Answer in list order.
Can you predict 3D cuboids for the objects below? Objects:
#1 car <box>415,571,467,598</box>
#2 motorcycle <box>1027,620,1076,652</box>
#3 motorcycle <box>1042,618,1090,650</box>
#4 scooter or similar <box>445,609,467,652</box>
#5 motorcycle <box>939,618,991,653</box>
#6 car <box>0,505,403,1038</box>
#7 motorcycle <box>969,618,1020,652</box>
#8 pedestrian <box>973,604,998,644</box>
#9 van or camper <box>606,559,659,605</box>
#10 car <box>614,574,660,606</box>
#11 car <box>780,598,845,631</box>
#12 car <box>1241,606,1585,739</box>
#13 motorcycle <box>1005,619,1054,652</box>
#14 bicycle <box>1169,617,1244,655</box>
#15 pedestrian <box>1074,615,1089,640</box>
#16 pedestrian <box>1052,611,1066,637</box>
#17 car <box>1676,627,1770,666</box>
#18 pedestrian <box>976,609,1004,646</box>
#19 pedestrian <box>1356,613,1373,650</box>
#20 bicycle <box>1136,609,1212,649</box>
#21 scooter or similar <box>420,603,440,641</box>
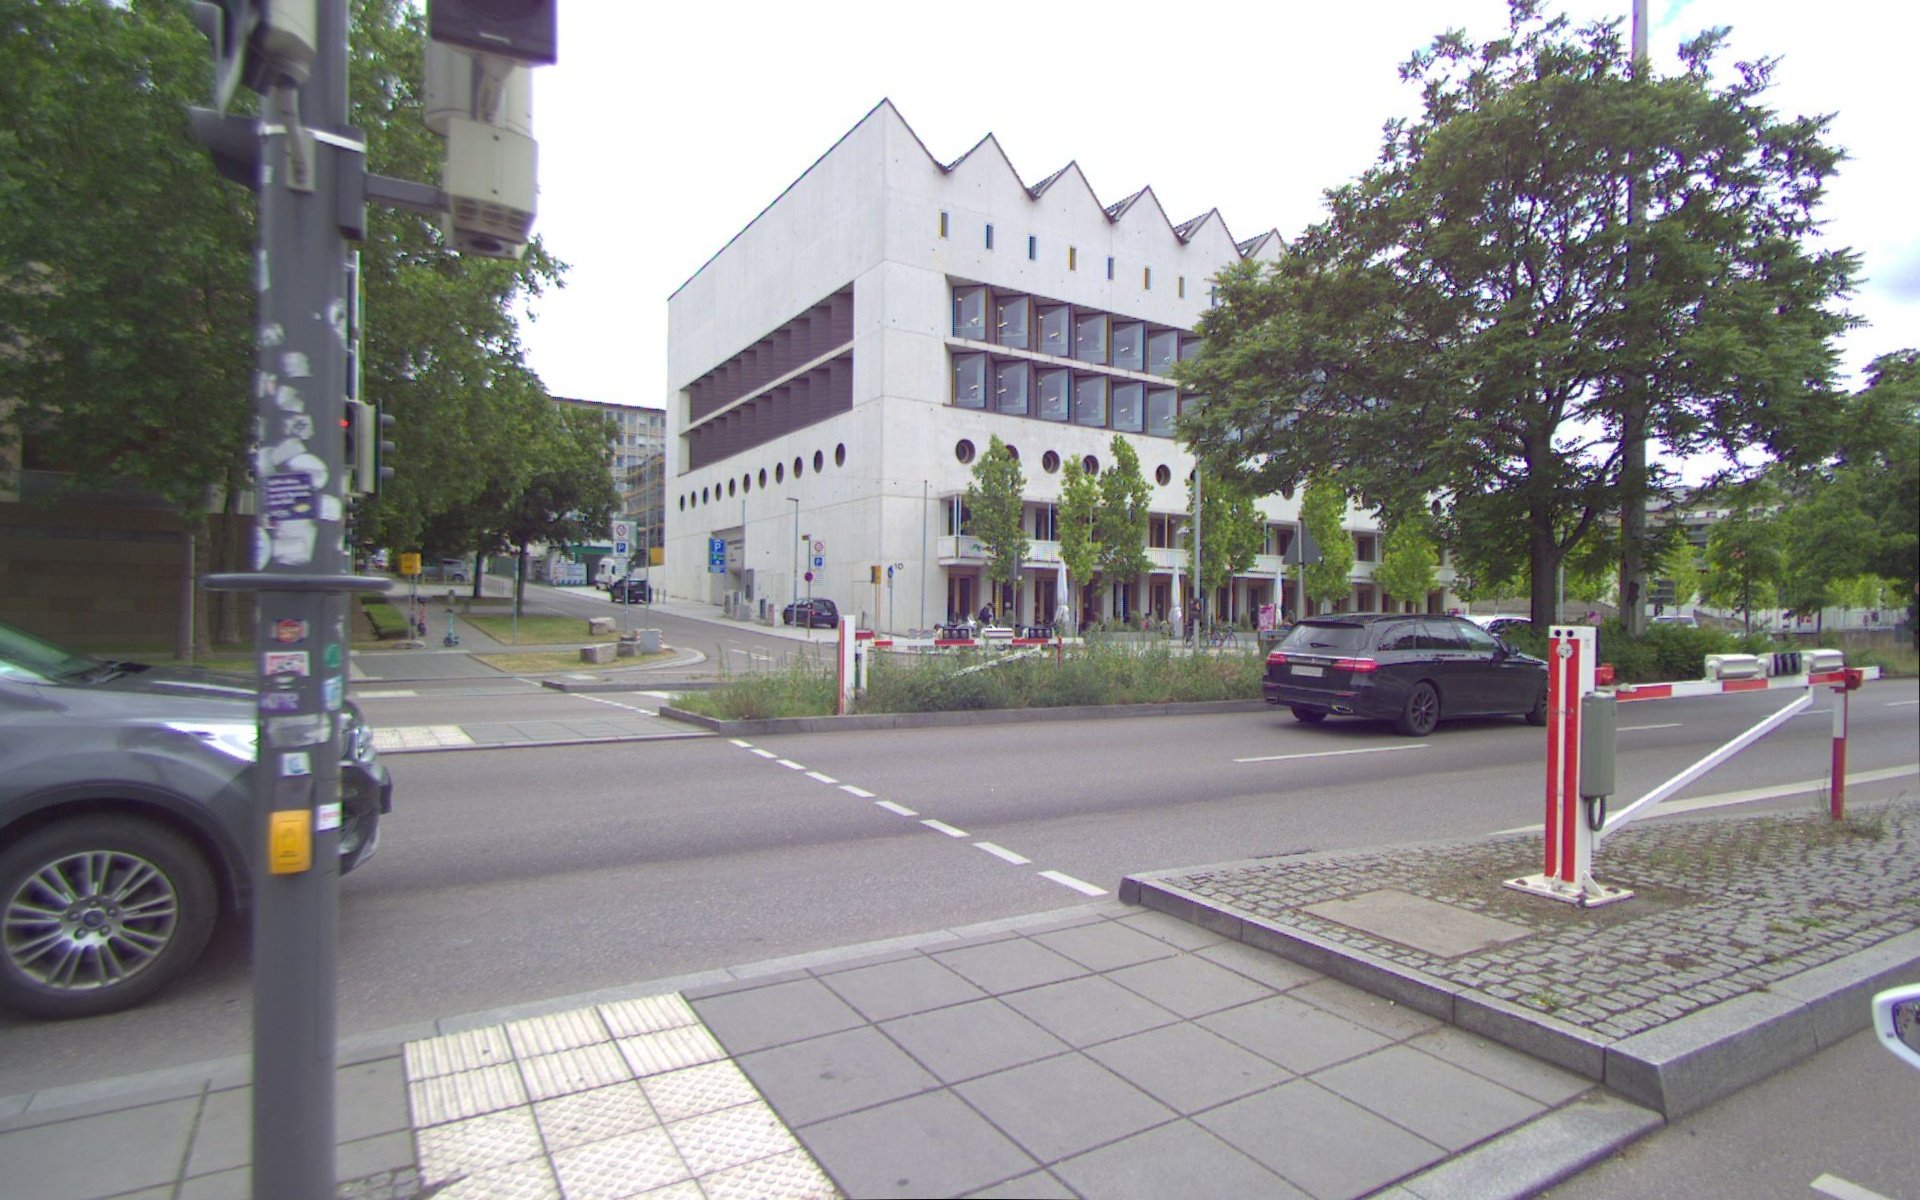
[{"bbox_3d":[-42.252,-1.243,81.766,3.640,2.040,1.576,1,-1,-30],"label":"car"},{"bbox_3d":[3.662,1.451,40.413,1.858,1.249,0.657,0,-3,34],"label":"motorcycle"},{"bbox_3d":[4.331,1.396,41.135,1.858,1.249,0.657,0,-3,34],"label":"motorcycle"},{"bbox_3d":[-16.538,0.993,32.927,0.532,1.358,1.407,1,-1,-31],"label":"scooter or similar"},{"bbox_3d":[0.175,1.330,37.485,1.858,1.249,0.657,0,-3,34],"label":"motorcycle"},{"bbox_3d":[-4.591,0.534,3.391,4.610,1.738,1.882,1,1,-34],"label":"car"},{"bbox_3d":[1.334,1.319,38.512,1.858,1.249,0.657,0,-3,34],"label":"motorcycle"},{"bbox_3d":[1.029,0.953,40.084,0.865,1.577,0.598,0,-1,16],"label":"pedestrian"},{"bbox_3d":[-25.458,-1.439,77.806,2.371,3.392,6.276,2,1,-32],"label":"van or camper"},{"bbox_3d":[-21.413,-0.687,66.528,1.977,1.874,3.966,2,2,-31],"label":"car"},{"bbox_3d":[-7.307,0.690,49.362,1.732,1.293,3.965,2,2,-31],"label":"car"},{"bbox_3d":[6.184,0.906,13.538,4.808,1.479,1.803,2,0,-31],"label":"car"},{"bbox_3d":[2.744,1.416,39.725,1.858,1.249,0.657,0,-3,34],"label":"motorcycle"},{"bbox_3d":[11.441,1.623,46.732,1.170,1.706,3.593,1,-1,-32],"label":"bicycle"},{"bbox_3d":[6.552,1.486,54.230,0.559,1.344,0.516,2,-2,-31],"label":"pedestrian"},{"bbox_3d":[5.222,1.261,52.993,0.559,1.344,0.516,2,-2,-31],"label":"pedestrian"},{"bbox_3d":[32.257,1.964,42.426,3.953,1.481,1.747,2,1,-30],"label":"car"},{"bbox_3d":[1.335,1.213,45.099,0.752,1.589,1.094,2,1,-28],"label":"pedestrian"},{"bbox_3d":[23.331,1.819,57.913,0.701,2.039,0.737,1,-4,35],"label":"pedestrian"},{"bbox_3d":[9.582,1.283,45.170,1.170,1.706,3.593,1,-1,-32],"label":"bicycle"},{"bbox_3d":[-19.040,0.785,36.062,0.532,1.358,1.407,1,-1,-31],"label":"scooter or similar"}]
